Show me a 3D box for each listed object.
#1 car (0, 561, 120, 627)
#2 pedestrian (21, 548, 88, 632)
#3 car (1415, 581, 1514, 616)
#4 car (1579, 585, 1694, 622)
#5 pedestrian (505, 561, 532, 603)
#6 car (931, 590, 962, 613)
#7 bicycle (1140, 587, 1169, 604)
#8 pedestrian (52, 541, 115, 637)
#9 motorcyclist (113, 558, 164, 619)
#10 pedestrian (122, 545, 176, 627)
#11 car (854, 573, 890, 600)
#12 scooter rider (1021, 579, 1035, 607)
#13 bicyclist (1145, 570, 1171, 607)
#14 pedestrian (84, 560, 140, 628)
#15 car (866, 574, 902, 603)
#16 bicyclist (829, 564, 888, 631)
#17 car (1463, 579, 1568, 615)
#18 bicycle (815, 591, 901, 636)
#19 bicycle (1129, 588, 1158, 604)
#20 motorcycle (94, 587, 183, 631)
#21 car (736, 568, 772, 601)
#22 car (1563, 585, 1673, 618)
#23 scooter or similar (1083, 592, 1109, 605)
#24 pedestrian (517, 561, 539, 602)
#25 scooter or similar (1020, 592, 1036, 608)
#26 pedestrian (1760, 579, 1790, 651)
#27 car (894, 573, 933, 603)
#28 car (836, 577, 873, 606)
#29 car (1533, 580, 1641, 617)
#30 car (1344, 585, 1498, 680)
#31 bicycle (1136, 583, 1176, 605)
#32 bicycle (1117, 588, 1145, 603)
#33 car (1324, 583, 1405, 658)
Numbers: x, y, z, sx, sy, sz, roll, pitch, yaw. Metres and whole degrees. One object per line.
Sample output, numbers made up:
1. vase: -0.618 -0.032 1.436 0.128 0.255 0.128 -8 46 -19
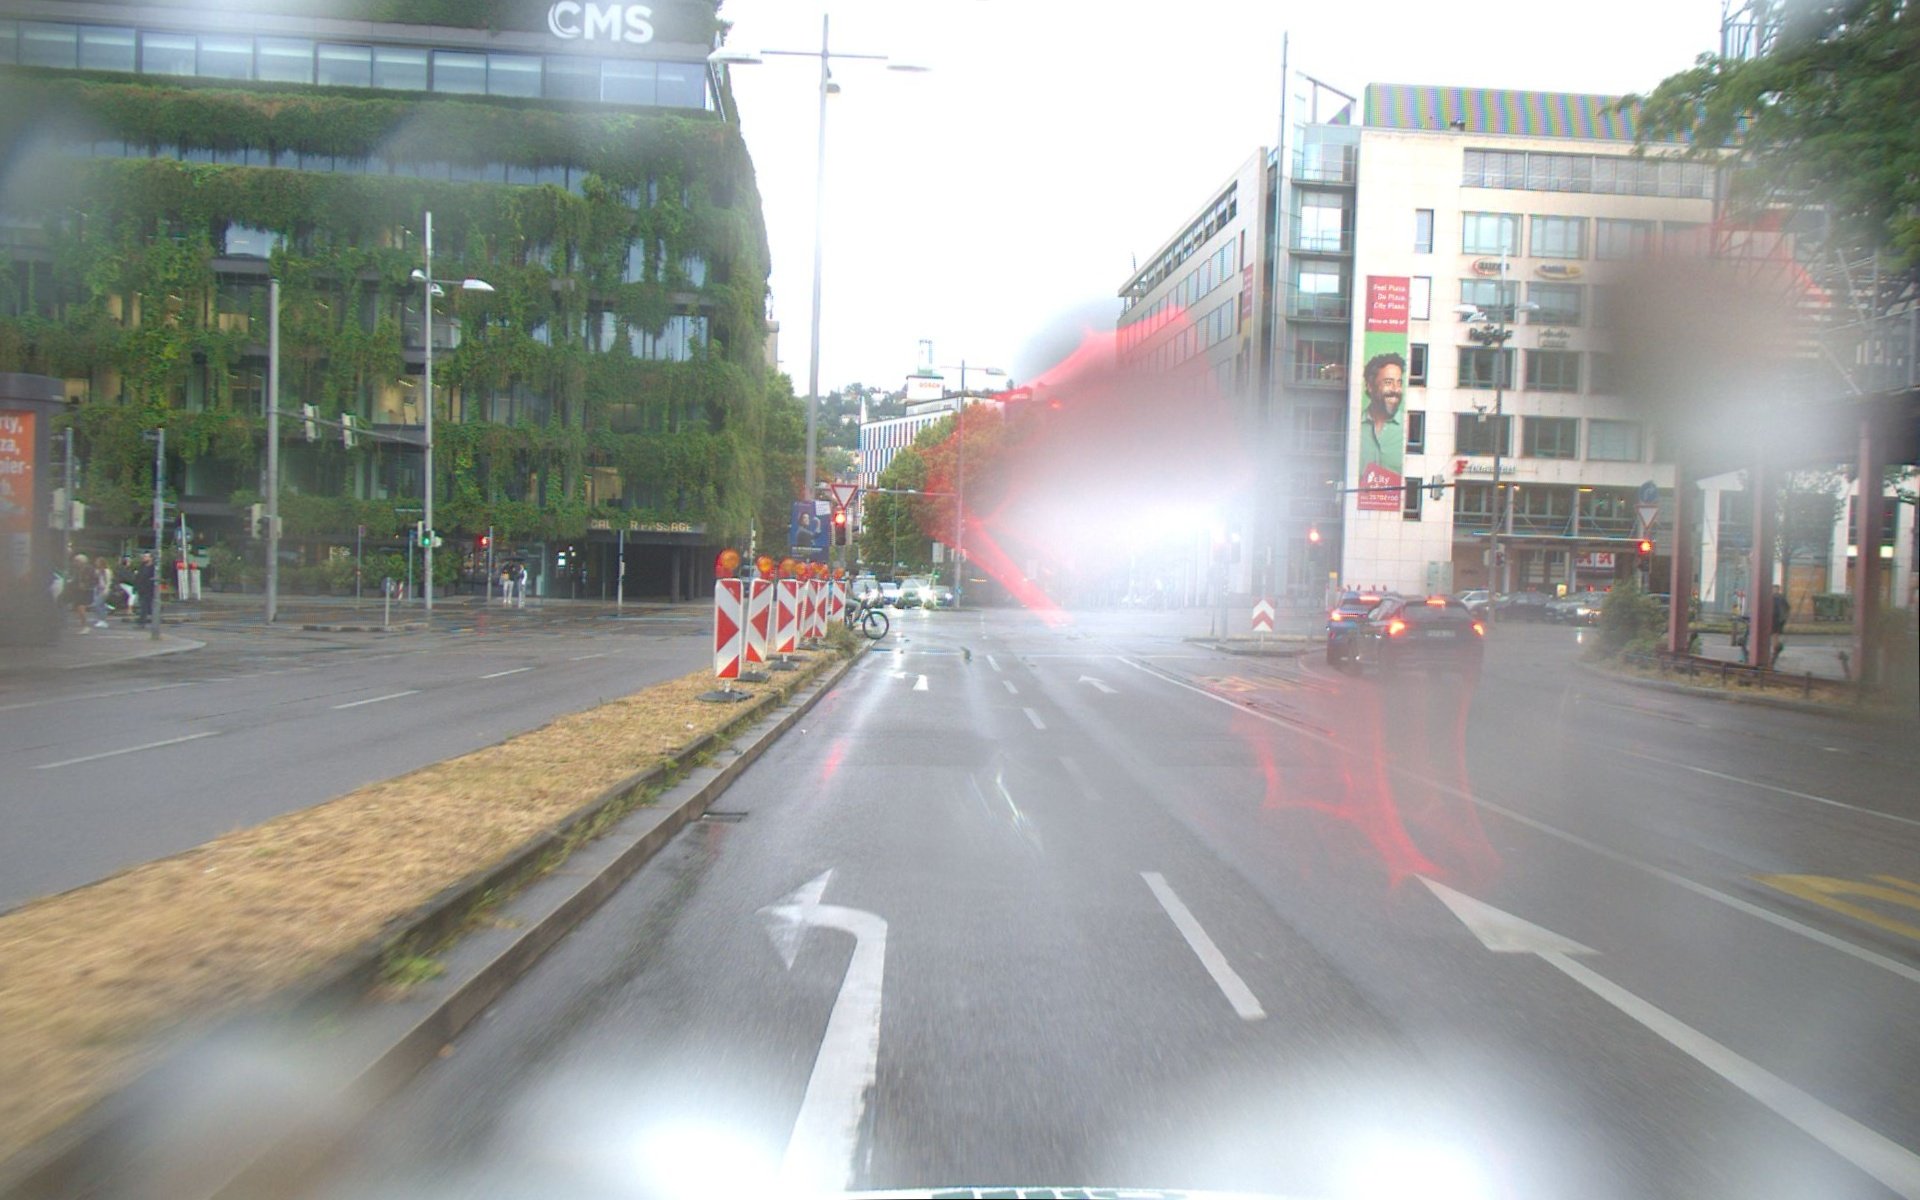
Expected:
1. car: -27.639 -0.192 50.241 3.390 1.955 1.993 1 1 -14
2. pedestrian: -21.011 -0.235 38.405 1.001 1.886 0.876 -3 1 -5
3. car: 25.194 -0.074 82.627 4.377 1.626 1.992 1 1 -16
4. car: 28.792 0.151 70.399 4.374 1.489 1.717 1 1 -14
5. pedestrian: -19.077 -0.794 71.438 0.923 1.788 1.163 1 1 -24
6. car: -0.973 0.088 119.114 1.954 1.468 4.553 0 2 -4
7. bicycle: 11.654 -0.266 99.022 1.768 0.950 0.473 1 1 41
8. pedestrian: -18.064 -0.225 34.104 0.790 1.918 0.865 -3 1 -7
9. motorcyclist: -24.004 -0.335 48.334 1.166 1.732 0.844 1 0 -17
10. pedestrian: -19.689 -0.340 40.147 0.768 1.918 0.898 -3 1 -1
11. car: -5.225 -0.821 97.387 1.821 1.473 4.615 1 1 -7
12. scooter rider: 4.478 -0.474 109.209 0.749 1.805 0.793 1 0 -15
13. bicyclist: 10.813 -0.647 90.337 0.787 2.009 1.098 1 0 -41
14. pedestrian: -20.608 -0.154 40.204 0.814 1.612 0.923 -3 1 0
15. car: -5.082 -0.789 109.943 2.133 1.855 4.638 1 1 -6
16. bicyclist: -2.645 -0.070 43.111 1.284 1.733 0.838 0 1 -35
17. car: 26.615 -0.137 79.275 4.372 1.626 1.994 1 1 -13
18. bicycle: -2.653 0.346 43.125 2.127 1.122 0.838 0 1 -35
19. bicycle: 11.563 -0.272 104.094 1.757 0.950 0.475 1 0 2
20. motorcycle: -23.997 0.264 48.343 2.192 1.231 0.844 1 1 -17
21. car: -12.582 -0.960 101.262 1.954 1.928 4.461 1 1 -5
22. car: 29.081 0.071 73.160 4.377 1.372 1.716 1 1 -16
23. scooter or similar: 9.279 -0.106 113.081 1.720 0.894 0.486 0 0 -20
24. pedestrian: -18.735 -0.800 71.735 0.731 1.788 0.969 1 0 -24
25. scooter or similar: 4.490 -0.003 109.136 0.547 1.024 1.817 1 0 -14
26. pedestrian: 21.629 0.392 43.908 0.666 1.884 1.056 1 0 24
27. car: -2.547 -0.665 90.171 1.954 1.577 4.553 1 1 -3
28. car: -5.823 -0.480 91.033 1.820 1.473 4.615 1 1 -6
29. car: 29.142 -0.089 76.884 4.377 1.626 1.992 1 1 -16
30. car: 8.304 0.533 30.154 1.741 1.567 4.148 1 1 2
31. bicycle: 10.726 -0.332 90.426 0.786 1.136 2.222 1 1 -41
32. bicycle: 10.928 -0.294 105.936 1.757 0.950 0.475 1 0 2
33. car: 9.165 0.408 37.386 1.667 1.556 4.430 1 1 14
